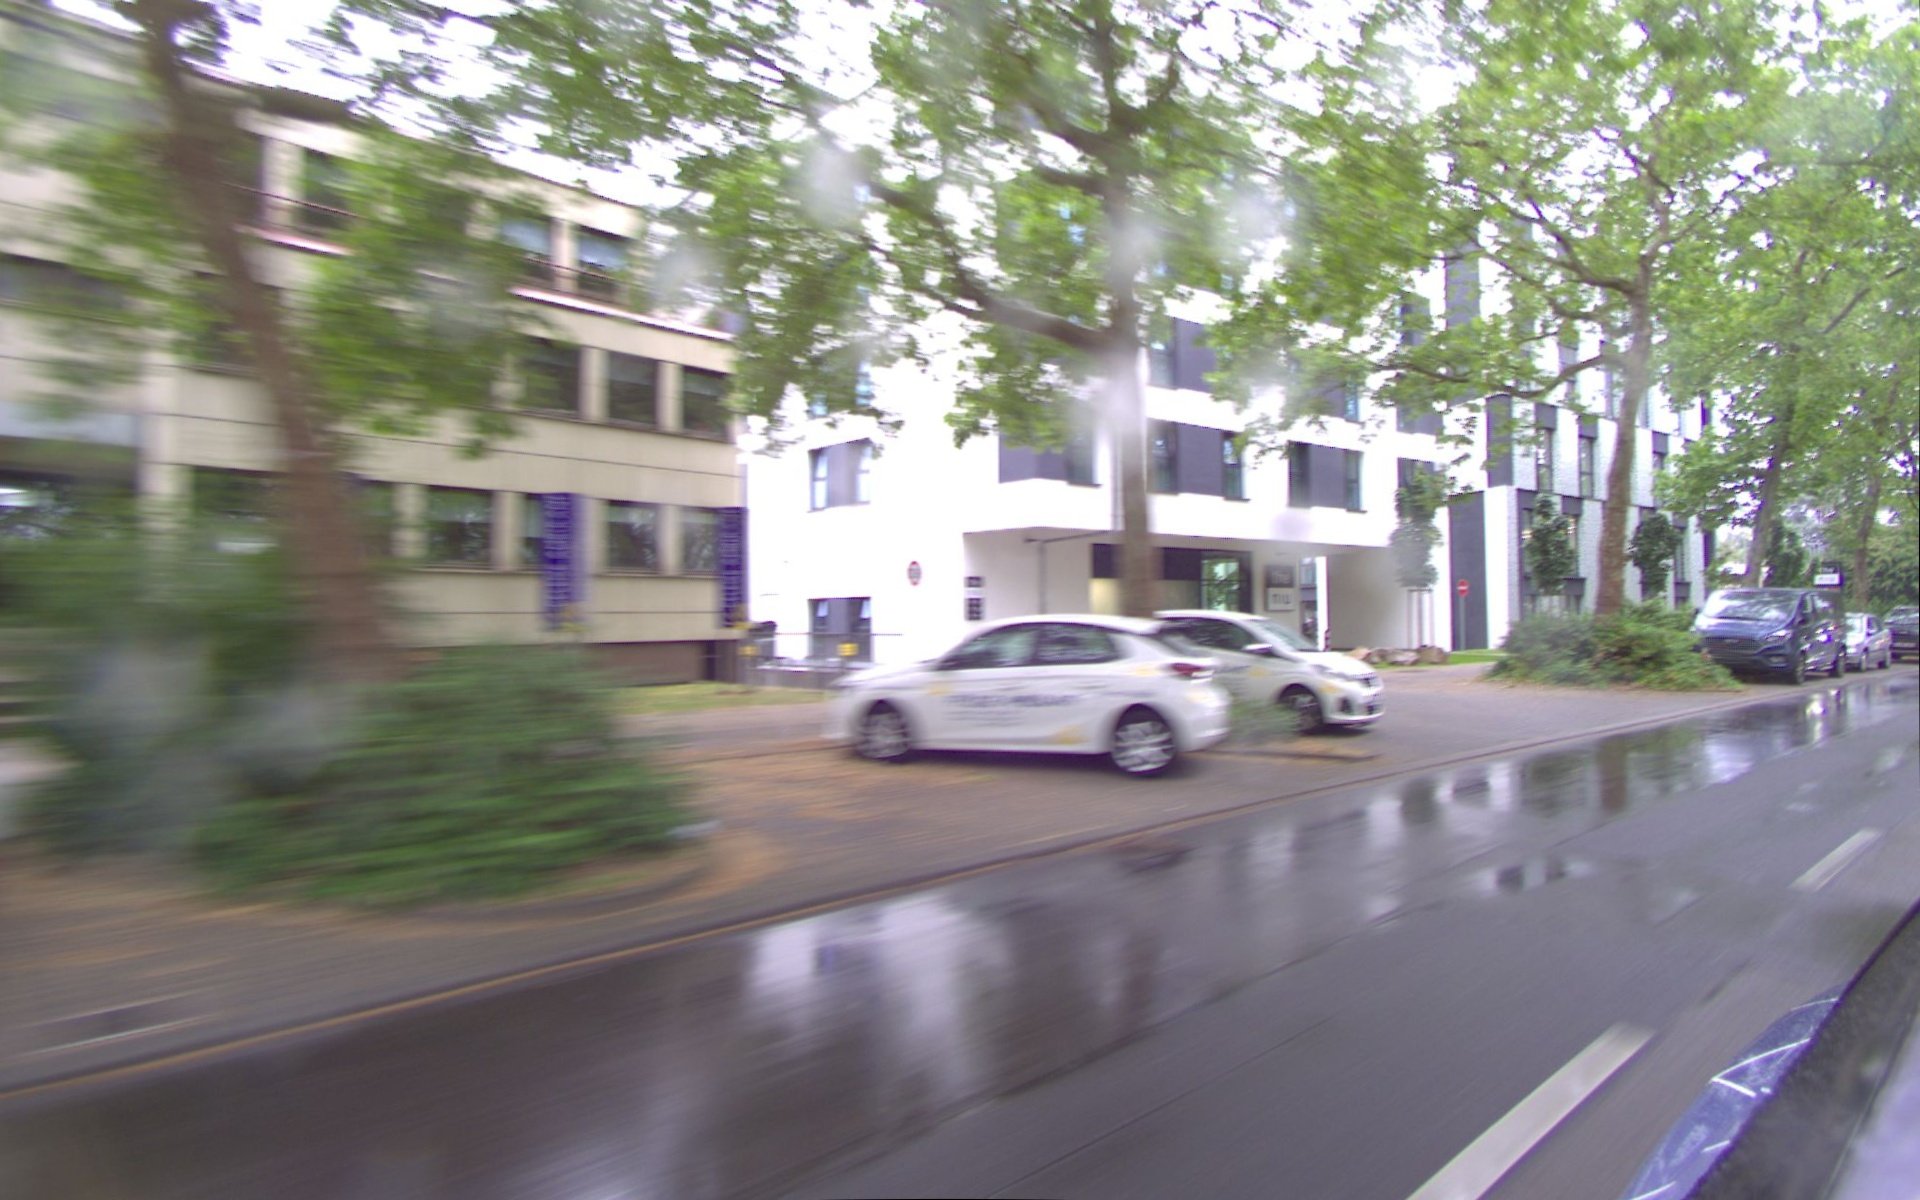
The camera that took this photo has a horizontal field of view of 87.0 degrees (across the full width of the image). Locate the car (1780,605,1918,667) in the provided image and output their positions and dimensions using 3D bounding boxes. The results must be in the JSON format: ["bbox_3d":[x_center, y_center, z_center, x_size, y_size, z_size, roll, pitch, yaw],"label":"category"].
[{"bbox_3d":[22.947,0.869,26.093,4.224,1.488,1.749,0,-1,-35],"label":"car"}]

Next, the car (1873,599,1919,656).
[{"bbox_3d":[28.474,0.791,29.579,4.288,1.586,1.749,0,-1,-35],"label":"car"}]

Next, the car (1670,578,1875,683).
[{"bbox_3d":[18.024,0.617,22.364,5.422,2.054,2.128,0,-1,-35],"label":"car"}]

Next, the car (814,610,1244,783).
[{"bbox_3d":[0.712,0.831,10.112,3.988,1.446,1.737,0,-1,20],"label":"car"}]

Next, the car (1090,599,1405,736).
[{"bbox_3d":[3.731,0.789,13.310,3.624,1.524,1.726,1,-1,36],"label":"car"}]

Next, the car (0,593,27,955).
[{"bbox_3d":[-6.253,0.741,4.252,3.985,1.559,1.738,0,-1,19],"label":"car"}]
